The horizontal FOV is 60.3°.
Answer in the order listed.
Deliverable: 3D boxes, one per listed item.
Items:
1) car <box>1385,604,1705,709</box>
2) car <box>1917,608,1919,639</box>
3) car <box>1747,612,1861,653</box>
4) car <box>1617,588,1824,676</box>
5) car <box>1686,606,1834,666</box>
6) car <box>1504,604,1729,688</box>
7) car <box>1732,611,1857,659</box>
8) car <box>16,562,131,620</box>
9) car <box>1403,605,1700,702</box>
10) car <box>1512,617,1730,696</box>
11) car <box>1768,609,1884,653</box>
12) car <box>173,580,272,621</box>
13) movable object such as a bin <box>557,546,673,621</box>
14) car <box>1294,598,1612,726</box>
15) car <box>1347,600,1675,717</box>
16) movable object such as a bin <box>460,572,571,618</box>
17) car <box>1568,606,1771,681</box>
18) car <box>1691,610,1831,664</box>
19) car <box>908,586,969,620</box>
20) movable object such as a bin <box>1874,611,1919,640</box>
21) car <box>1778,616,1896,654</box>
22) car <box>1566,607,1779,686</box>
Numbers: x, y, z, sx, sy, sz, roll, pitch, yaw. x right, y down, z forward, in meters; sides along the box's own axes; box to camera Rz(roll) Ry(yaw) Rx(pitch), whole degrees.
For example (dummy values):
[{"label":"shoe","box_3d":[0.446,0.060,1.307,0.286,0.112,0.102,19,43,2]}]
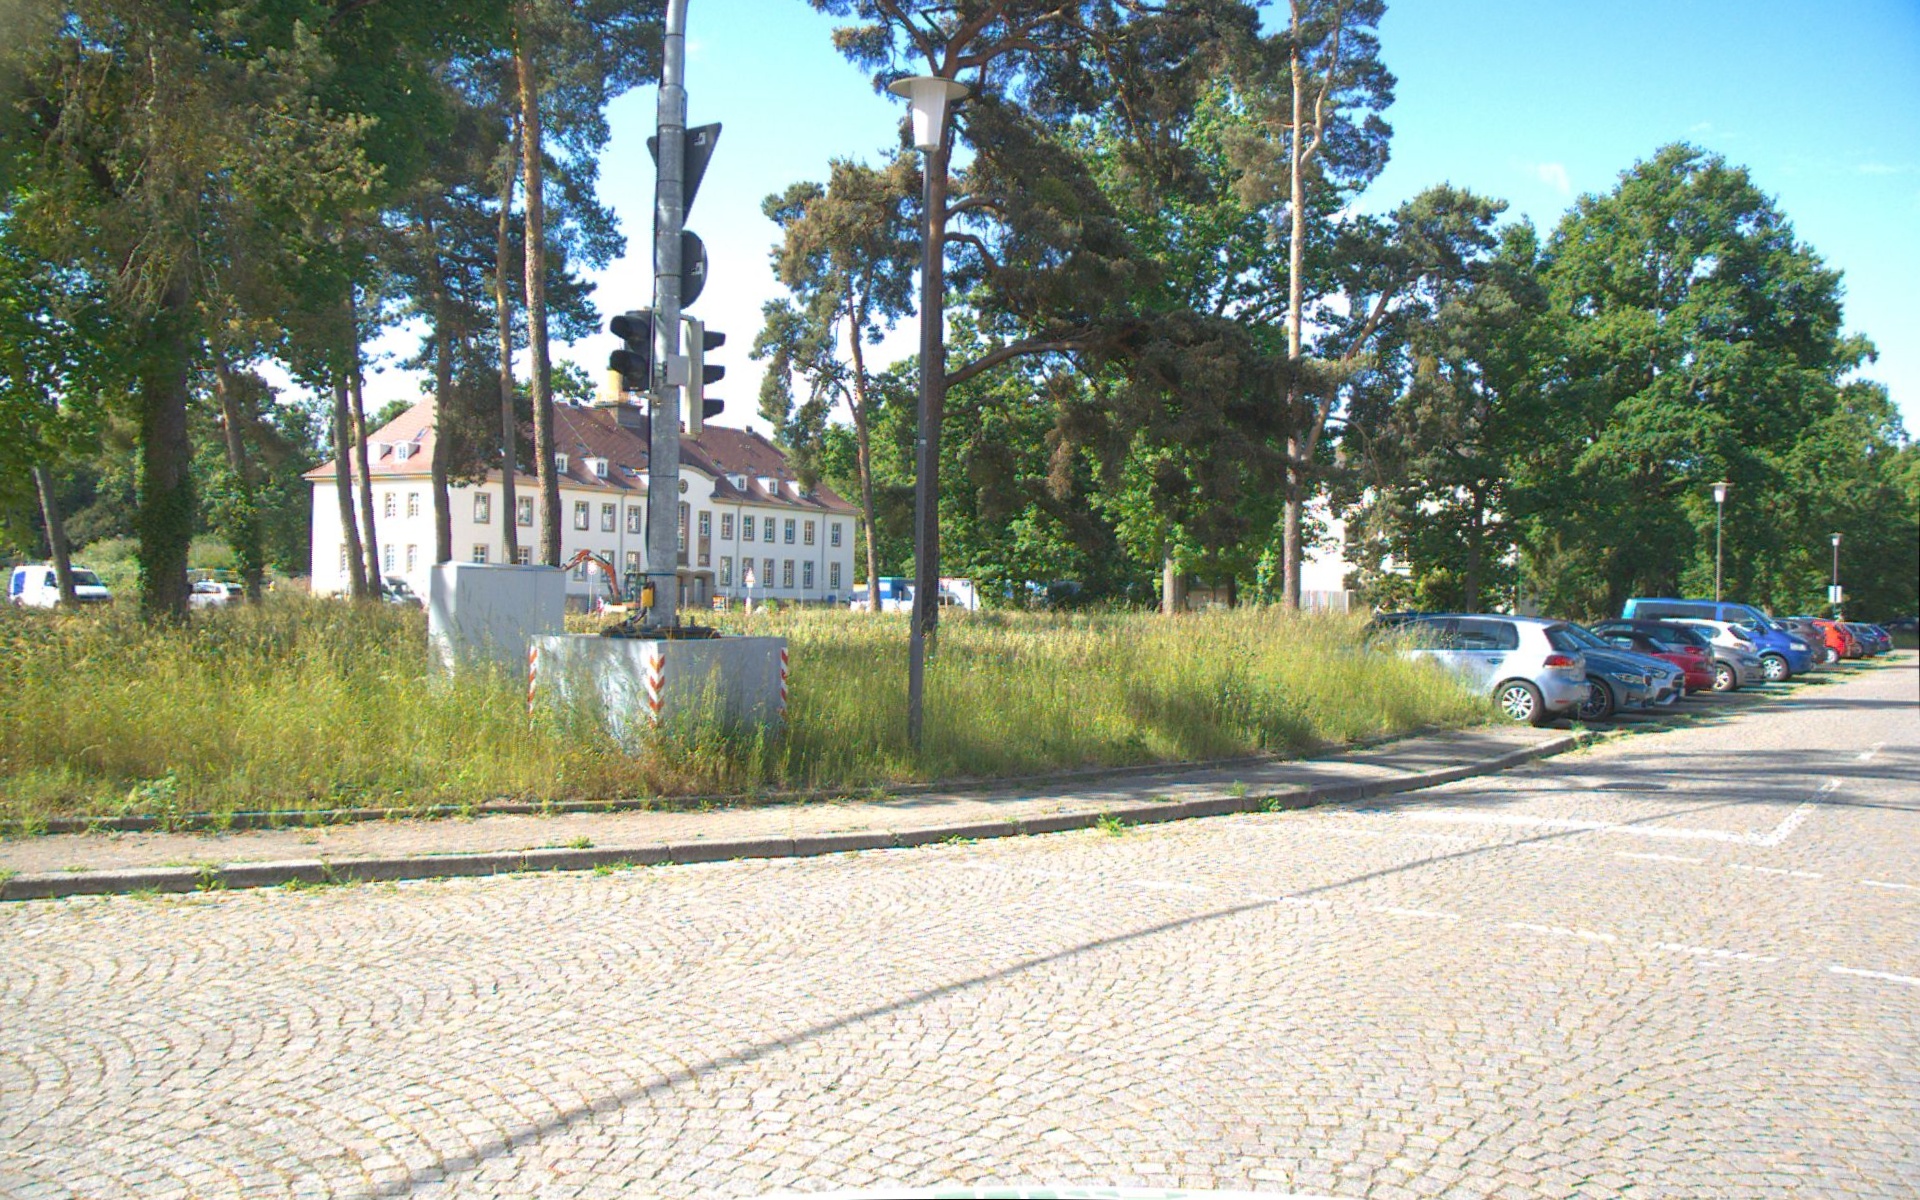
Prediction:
[{"label":"car","box_3d":[9.879,0.912,28.070,4.780,1.445,1.932,3,0,34]},{"label":"car","box_3d":[67.443,1.665,111.304,5.142,2.051,1.944,2,0,33]},{"label":"car","box_3d":[33.962,1.302,66.579,3.856,1.458,1.836,2,1,35]},{"label":"car","box_3d":[19.920,0.806,43.382,4.635,2.002,1.999,3,1,33]},{"label":"car","box_3d":[24.643,1.077,50.969,3.883,1.595,1.969,3,2,32]},{"label":"car","box_3d":[13.610,0.938,34.360,4.007,1.477,1.815,3,0,35]},{"label":"car","box_3d":[30.103,1.237,59.704,3.853,1.486,1.837,3,1,32]},{"label":"car","box_3d":[-34.523,-0.352,64.359,4.762,2.202,1.951,1,0,35]},{"label":"car","box_3d":[10.776,0.927,30.280,4.780,1.445,1.932,3,1,34]},{"label":"car","box_3d":[12.677,1.058,31.780,3.568,1.255,1.754,3,0,35]},{"label":"car","box_3d":[35.721,1.268,68.277,4.063,1.607,1.879,2,1,33]},{"label":"car","box_3d":[-31.218,0.013,69.981,4.155,1.633,1.906,1,0,35]},{"label":"movable object such as a bin","box_3d":[-18.289,-0.813,88.245,3.834,3.796,6.797,1,0,9]},{"label":"car","box_3d":[7.009,0.813,23.586,3.954,1.509,1.944,3,1,32]},{"label":"car","box_3d":[8.540,0.857,25.705,4.496,1.477,1.980,3,0,30]},{"label":"movable object such as a bin","box_3d":[-23.859,-0.259,89.026,5.560,2.372,2.522,1,0,-11]},{"label":"car","box_3d":[16.778,0.990,39.159,4.123,1.500,1.818,3,1,33]},{"label":"car","box_3d":[25.861,1.162,53.429,3.853,1.474,1.862,3,2,32]},{"label":"car","box_3d":[-1.612,0.254,125.750,1.949,2.479,5.260,1,0,33]},{"label":"movable object such as a bin","box_3d":[58.436,1.574,101.621,2.004,1.775,3.529,1,0,-38]},{"label":"car","box_3d":[38.261,1.501,72.192,4.287,1.470,1.913,2,1,36]},{"label":"car","box_3d":[15.678,0.982,36.438,4.007,1.450,1.916,3,1,35]}]
